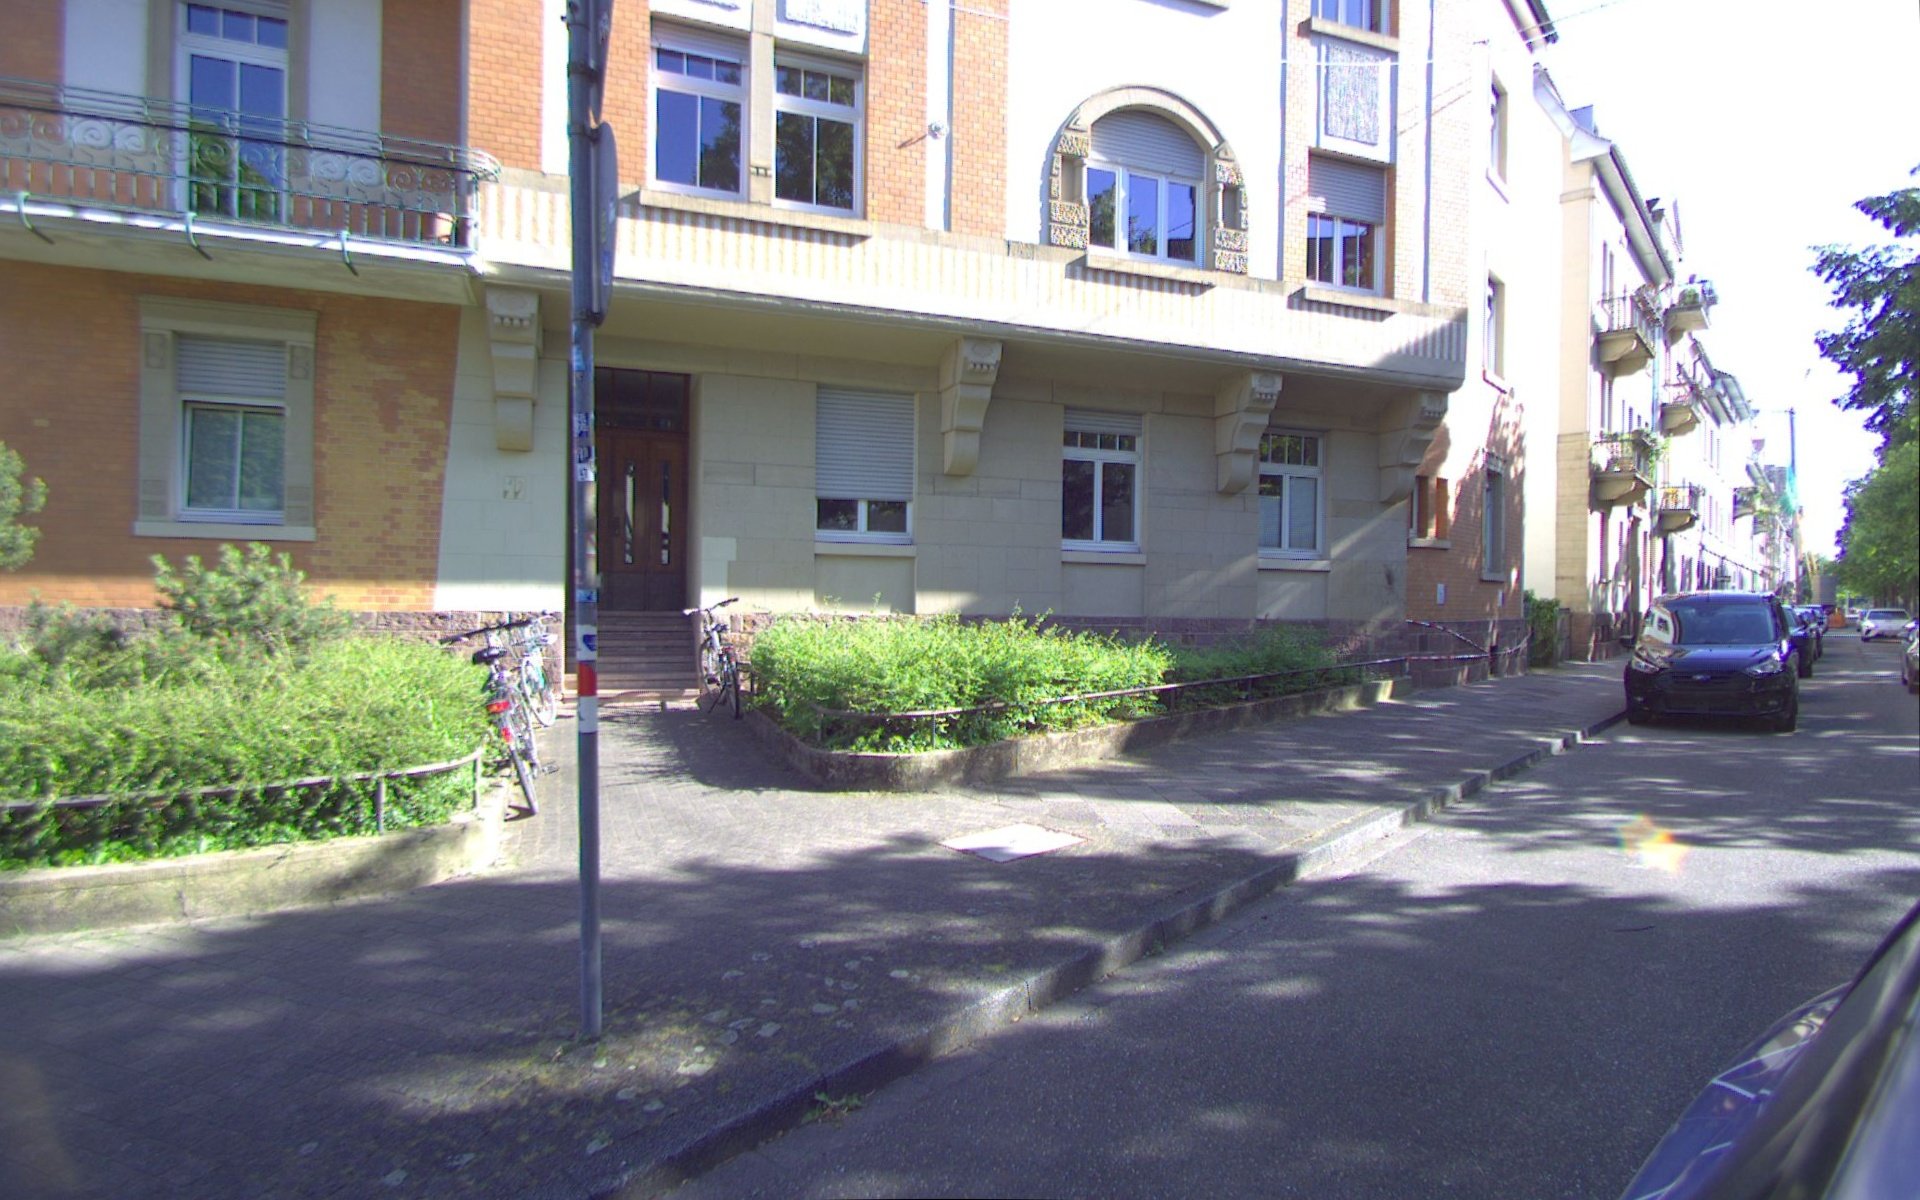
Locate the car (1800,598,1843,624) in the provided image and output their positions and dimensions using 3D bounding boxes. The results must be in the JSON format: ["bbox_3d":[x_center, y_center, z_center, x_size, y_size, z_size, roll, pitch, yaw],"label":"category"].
[{"bbox_3d":[53.724,0.714,63.119,1.792,1.576,4.142,-2,-2,43],"label":"car"}]

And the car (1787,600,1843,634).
[{"bbox_3d":[40.743,0.817,48.209,1.792,1.576,4.142,-2,-2,43],"label":"car"}]

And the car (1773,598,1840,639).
[{"bbox_3d":[34.132,0.752,40.778,1.792,1.576,4.142,-2,-2,43],"label":"car"}]

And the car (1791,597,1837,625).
[{"bbox_3d":[50.306,0.661,59.601,1.792,1.576,4.142,-2,-2,43],"label":"car"}]

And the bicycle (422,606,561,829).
[{"bbox_3d":[-2.958,0.644,6.469,0.674,1.135,1.947,1,1,-23],"label":"bicycle"}]

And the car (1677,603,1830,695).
[{"bbox_3d":[14.480,0.819,18.388,1.792,1.472,4.142,-2,-2,43],"label":"car"}]

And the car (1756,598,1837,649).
[{"bbox_3d":[27.908,0.767,33.723,1.792,1.576,4.142,-2,-2,43],"label":"car"}]

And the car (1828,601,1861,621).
[{"bbox_3d":[70.430,0.902,80.602,1.792,1.576,4.142,-2,-2,43],"label":"car"}]

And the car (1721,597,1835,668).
[{"bbox_3d":[19.726,0.751,24.352,1.792,1.576,4.142,-2,-2,43],"label":"car"}]

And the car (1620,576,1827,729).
[{"bbox_3d":[10.620,0.649,13.962,1.792,1.790,4.142,-2,-2,43],"label":"car"}]

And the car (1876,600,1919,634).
[{"bbox_3d":[42.846,0.751,45.922,1.792,1.453,4.142,0,-1,44],"label":"car"}]

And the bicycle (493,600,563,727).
[{"bbox_3d":[-4.196,0.570,9.906,0.489,1.085,1.678,1,1,-19],"label":"bicycle"}]

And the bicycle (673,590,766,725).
[{"bbox_3d":[-2.490,0.531,10.346,0.583,1.227,1.804,1,1,-24],"label":"bicycle"}]

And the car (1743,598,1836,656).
[{"bbox_3d":[24.390,0.780,29.693,1.792,1.576,4.142,-2,-2,43],"label":"car"}]
